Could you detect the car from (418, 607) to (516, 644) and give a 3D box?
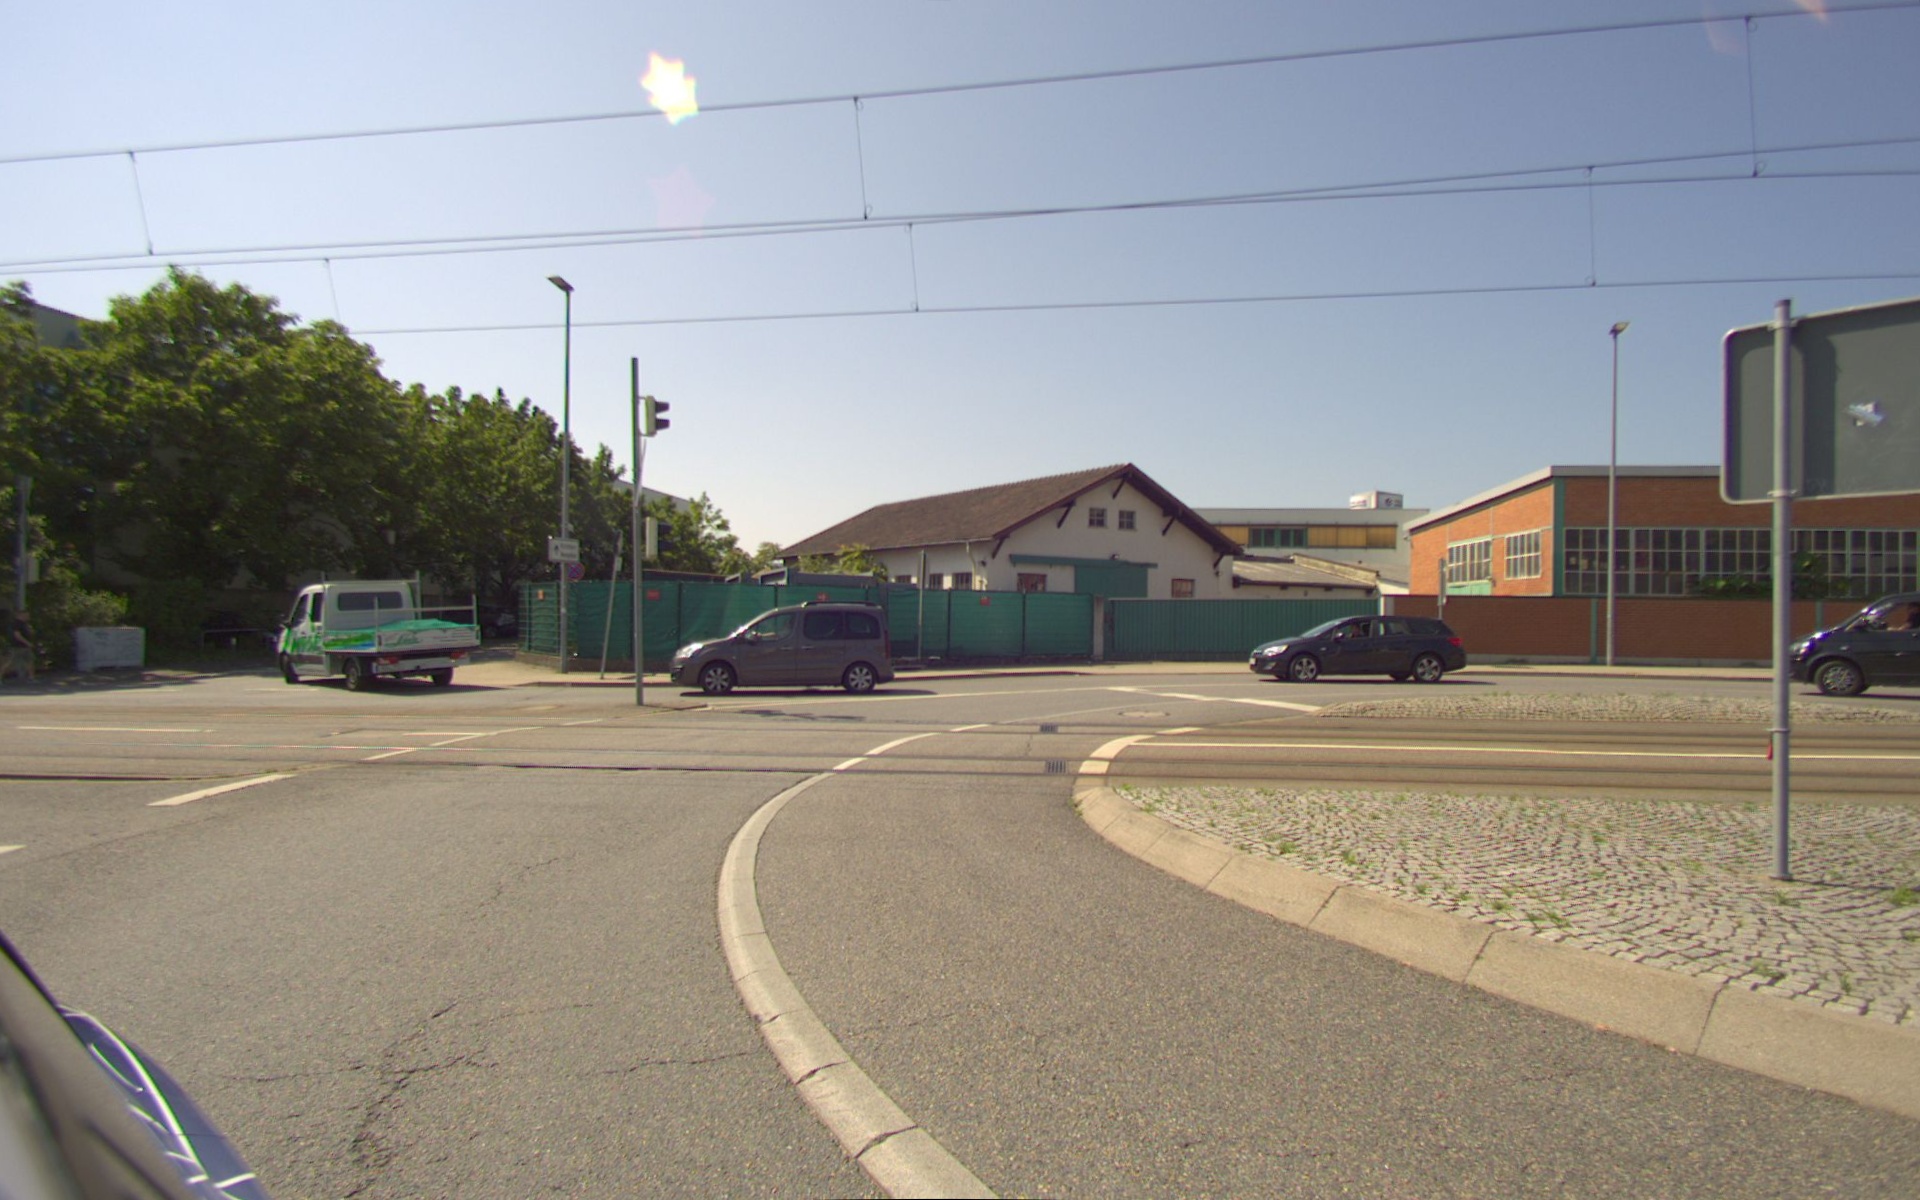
[{"bbox_3d":[-22.934,1.190,47.157,3.813,1.650,1.625,0,-1,1],"label":"car"}]

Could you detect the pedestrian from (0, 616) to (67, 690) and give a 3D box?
[{"bbox_3d":[-21.693,1.211,23.492,1.146,1.683,0.887,0,-1,6],"label":"pedestrian"}]

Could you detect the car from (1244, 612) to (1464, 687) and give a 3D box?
[{"bbox_3d":[8.779,1.096,22.895,4.190,1.568,1.966,-1,-1,6],"label":"car"}]

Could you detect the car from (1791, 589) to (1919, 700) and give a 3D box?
[{"bbox_3d":[17.759,0.750,17.682,2.064,1.925,4.648,0,-2,-39],"label":"car"}]

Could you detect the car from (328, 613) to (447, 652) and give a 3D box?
[{"bbox_3d":[-22.316,1.249,39.593,3.801,1.478,1.631,0,-1,-17],"label":"car"}]

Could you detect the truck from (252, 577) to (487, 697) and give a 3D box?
[{"bbox_3d":[-13.311,0.752,22.613,6.376,2.355,2.183,-1,0,36],"label":"truck"}]

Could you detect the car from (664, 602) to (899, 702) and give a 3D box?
[{"bbox_3d":[-3.506,0.974,20.019,4.337,1.832,1.994,0,-1,-11],"label":"car"}]
